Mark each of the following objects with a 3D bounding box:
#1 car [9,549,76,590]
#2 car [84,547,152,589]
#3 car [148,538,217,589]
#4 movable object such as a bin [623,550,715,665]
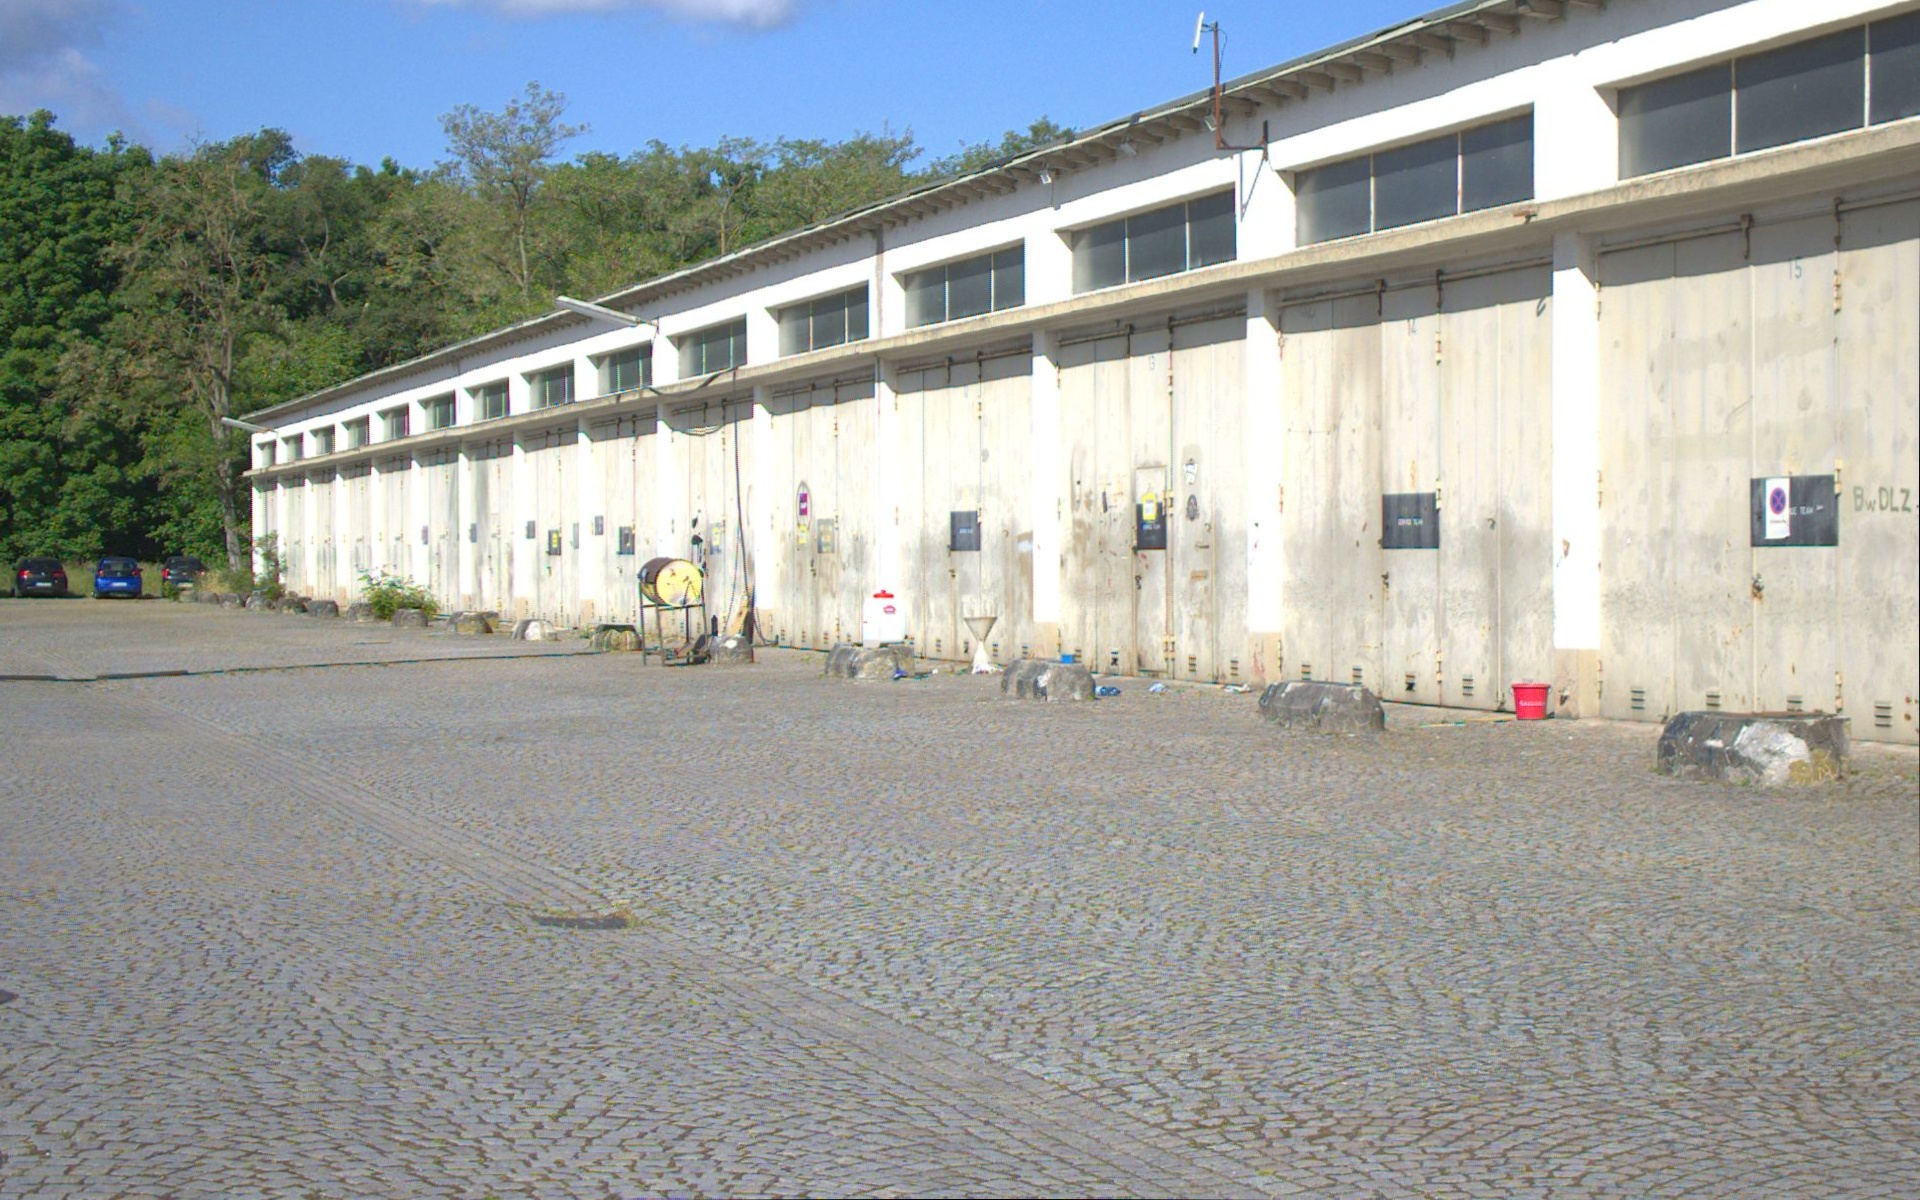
[{"bbox_3d":[-32.335,-1.086,121.114,1.993,1.419,4.001,-1,1,-18],"label":"car"},{"bbox_3d":[-29.867,-1.155,121.903,1.993,1.461,4.001,-1,1,-18],"label":"car"},{"bbox_3d":[-28.012,-1.320,123.812,1.993,1.766,4.001,-1,1,-18],"label":"car"},{"bbox_3d":[-3.607,0.078,42.570,0.874,1.396,1.102,-1,1,-19],"label":"movable object such as a bin"}]
